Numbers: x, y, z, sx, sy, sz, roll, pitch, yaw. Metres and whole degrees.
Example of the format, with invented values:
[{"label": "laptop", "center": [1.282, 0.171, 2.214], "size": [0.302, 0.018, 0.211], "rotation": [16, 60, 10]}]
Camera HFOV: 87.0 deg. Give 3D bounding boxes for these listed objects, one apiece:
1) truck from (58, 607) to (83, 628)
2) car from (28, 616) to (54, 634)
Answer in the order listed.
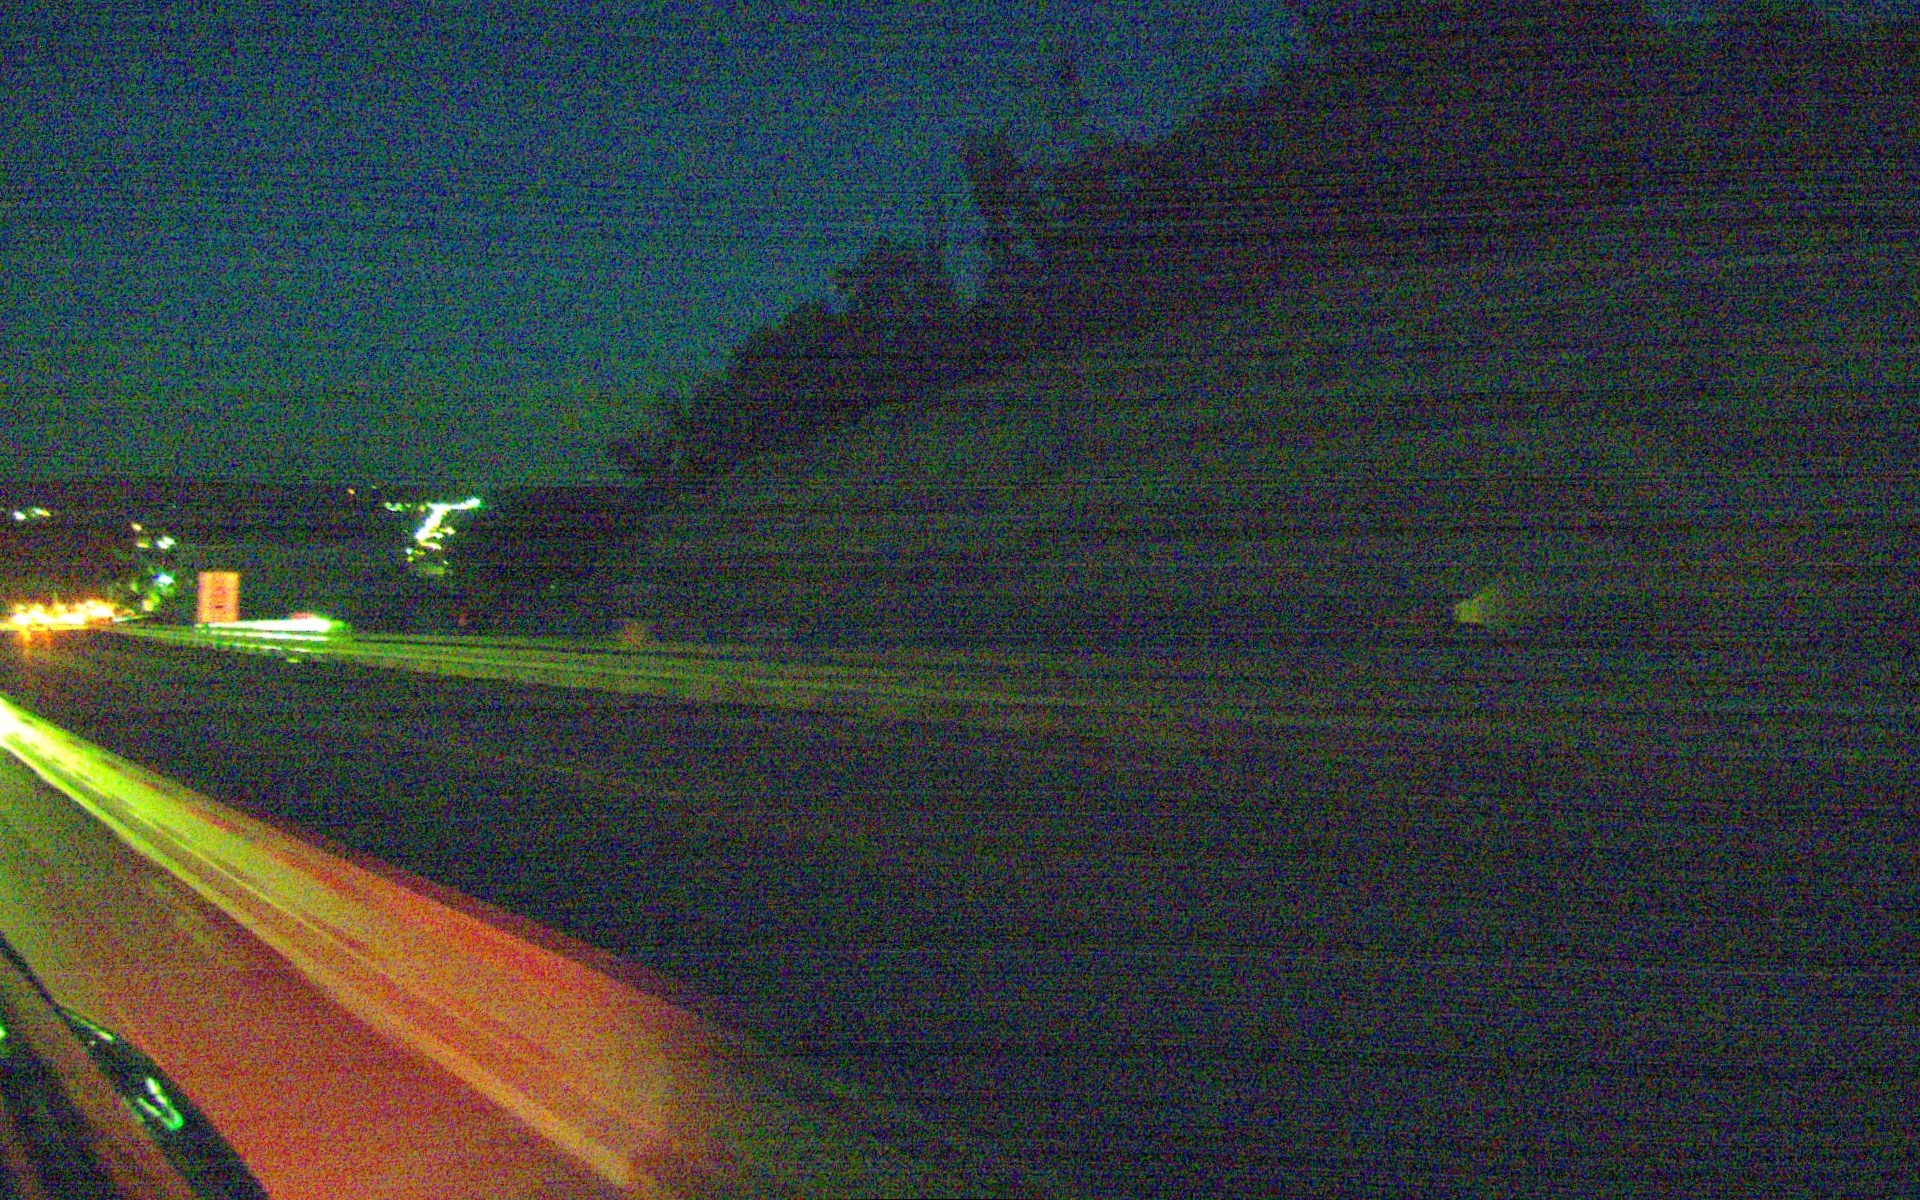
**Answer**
[{"label": "truck", "center": [-114.938, 2.210, 130.814], "size": [2.272, 2.493, 6.284], "rotation": [0, 0, -39]}, {"label": "car", "center": [-84.062, 2.324, 92.570], "size": [1.786, 1.529, 3.939], "rotation": [0, -2, -43]}]
